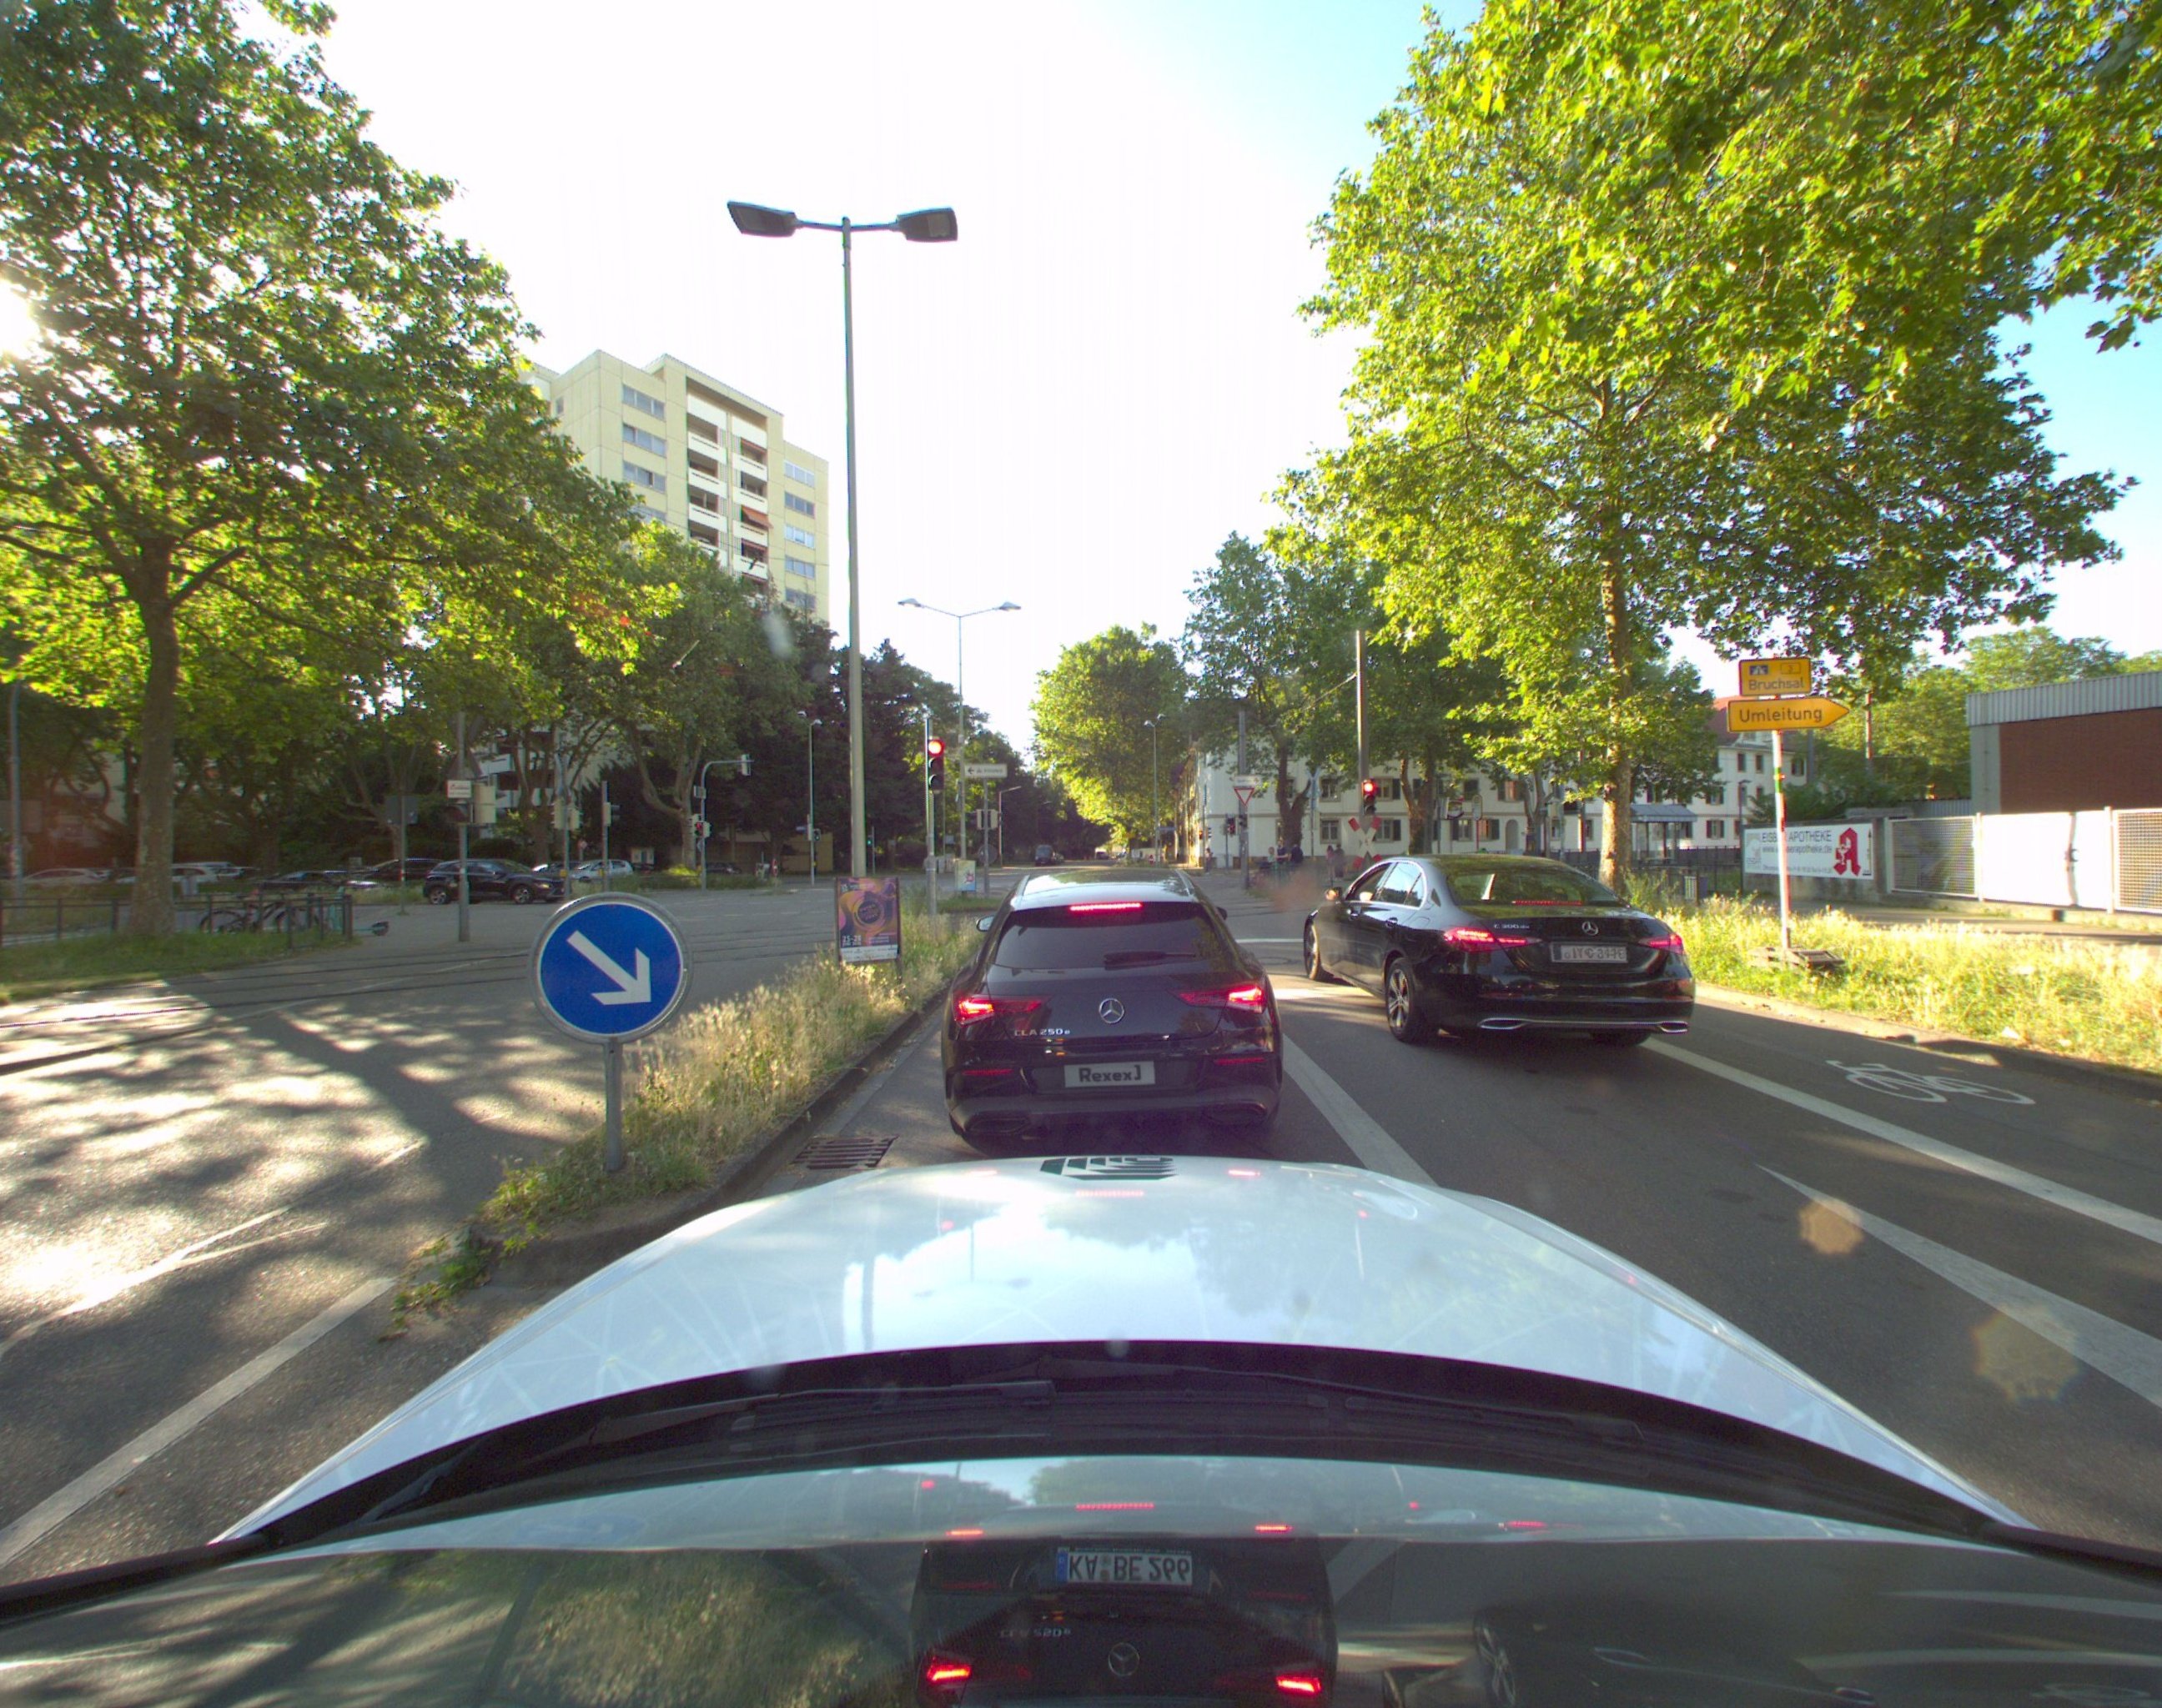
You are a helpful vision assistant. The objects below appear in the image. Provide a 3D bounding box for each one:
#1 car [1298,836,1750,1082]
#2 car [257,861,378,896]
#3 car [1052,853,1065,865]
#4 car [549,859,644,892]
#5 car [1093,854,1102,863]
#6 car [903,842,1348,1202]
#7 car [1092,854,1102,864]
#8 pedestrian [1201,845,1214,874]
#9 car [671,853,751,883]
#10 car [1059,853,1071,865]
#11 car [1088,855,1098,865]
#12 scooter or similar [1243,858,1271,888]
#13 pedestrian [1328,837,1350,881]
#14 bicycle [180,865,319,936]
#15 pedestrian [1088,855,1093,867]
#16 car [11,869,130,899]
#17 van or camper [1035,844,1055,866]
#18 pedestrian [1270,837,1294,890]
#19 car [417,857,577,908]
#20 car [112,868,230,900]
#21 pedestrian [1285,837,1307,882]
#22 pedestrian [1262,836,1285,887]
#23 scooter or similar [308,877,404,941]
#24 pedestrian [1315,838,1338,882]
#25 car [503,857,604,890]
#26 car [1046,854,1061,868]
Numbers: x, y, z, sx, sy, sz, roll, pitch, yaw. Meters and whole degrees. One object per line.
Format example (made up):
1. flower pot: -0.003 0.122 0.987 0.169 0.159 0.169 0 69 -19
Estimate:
1. car: 3.362 0.618 7.327 1.881 1.490 4.386 0 2 3
2. car: -37.415 1.148 40.000 1.716 1.596 4.025 -1 -1 32
3. car: -3.249 0.759 117.904 1.727 1.765 4.087 0 -1 2
4. car: -24.925 1.068 42.029 1.716 1.596 3.831 -1 -1 32
5. car: 3.243 0.895 158.626 1.727 1.765 4.020 0 -1 2
6. car: 0.297 0.686 5.467 1.881 1.450 4.004 0 2 3
7. car: 2.912 0.974 150.544 1.727 1.765 4.020 0 -1 2
8. pedestrian: 8.403 0.338 54.142 0.703 1.918 0.838 0 -1 -2
9. car: -22.641 0.853 49.925 3.963 1.774 2.005 -1 -1 9
10. car: -2.474 0.823 126.678 1.727 1.765 3.972 0 -1 2
11. car: 2.101 1.002 145.739 1.727 1.765 4.020 0 -1 2
12. scooter or similar: 6.580 0.717 30.440 0.826 1.104 0.808 0 -1 -4
13. pedestrian: 11.572 0.227 36.541 0.703 1.918 0.838 0 -1 -2
14. bicycle: -15.954 0.872 15.672 1.845 1.307 0.380 0 -1 -26
15. pedestrian: 1.535 1.047 130.203 0.704 1.918 0.837 0 -1 -8
16. car: -57.102 1.670 46.076 1.716 1.596 4.025 -1 -1 32
17. van or camper: -4.420 0.126 100.053 1.986 2.541 4.653 0 -1 2
18. pedestrian: 7.411 0.341 30.085 0.680 1.918 0.707 0 -1 0
19. car: -19.460 0.928 27.281 3.981 1.596 1.735 0 -1 -5
20. car: -49.161 1.591 44.073 1.716 1.596 4.025 -1 -1 32
21. pedestrian: 9.279 0.246 35.228 0.703 1.918 0.838 0 -1 -2
22. pedestrian: 7.287 0.295 30.861 0.681 1.918 0.707 0 -1 -2
23. scooter or similar: -15.094 1.119 16.984 0.408 1.239 1.450 -1 -1 40
24. pedestrian: 10.721 0.256 35.561 0.703 1.918 0.838 0 -1 -2
25. car: -27.221 0.976 42.163 1.716 1.596 4.025 -1 -1 32
26. car: -3.673 0.945 109.769 1.727 1.765 4.343 0 -1 2
